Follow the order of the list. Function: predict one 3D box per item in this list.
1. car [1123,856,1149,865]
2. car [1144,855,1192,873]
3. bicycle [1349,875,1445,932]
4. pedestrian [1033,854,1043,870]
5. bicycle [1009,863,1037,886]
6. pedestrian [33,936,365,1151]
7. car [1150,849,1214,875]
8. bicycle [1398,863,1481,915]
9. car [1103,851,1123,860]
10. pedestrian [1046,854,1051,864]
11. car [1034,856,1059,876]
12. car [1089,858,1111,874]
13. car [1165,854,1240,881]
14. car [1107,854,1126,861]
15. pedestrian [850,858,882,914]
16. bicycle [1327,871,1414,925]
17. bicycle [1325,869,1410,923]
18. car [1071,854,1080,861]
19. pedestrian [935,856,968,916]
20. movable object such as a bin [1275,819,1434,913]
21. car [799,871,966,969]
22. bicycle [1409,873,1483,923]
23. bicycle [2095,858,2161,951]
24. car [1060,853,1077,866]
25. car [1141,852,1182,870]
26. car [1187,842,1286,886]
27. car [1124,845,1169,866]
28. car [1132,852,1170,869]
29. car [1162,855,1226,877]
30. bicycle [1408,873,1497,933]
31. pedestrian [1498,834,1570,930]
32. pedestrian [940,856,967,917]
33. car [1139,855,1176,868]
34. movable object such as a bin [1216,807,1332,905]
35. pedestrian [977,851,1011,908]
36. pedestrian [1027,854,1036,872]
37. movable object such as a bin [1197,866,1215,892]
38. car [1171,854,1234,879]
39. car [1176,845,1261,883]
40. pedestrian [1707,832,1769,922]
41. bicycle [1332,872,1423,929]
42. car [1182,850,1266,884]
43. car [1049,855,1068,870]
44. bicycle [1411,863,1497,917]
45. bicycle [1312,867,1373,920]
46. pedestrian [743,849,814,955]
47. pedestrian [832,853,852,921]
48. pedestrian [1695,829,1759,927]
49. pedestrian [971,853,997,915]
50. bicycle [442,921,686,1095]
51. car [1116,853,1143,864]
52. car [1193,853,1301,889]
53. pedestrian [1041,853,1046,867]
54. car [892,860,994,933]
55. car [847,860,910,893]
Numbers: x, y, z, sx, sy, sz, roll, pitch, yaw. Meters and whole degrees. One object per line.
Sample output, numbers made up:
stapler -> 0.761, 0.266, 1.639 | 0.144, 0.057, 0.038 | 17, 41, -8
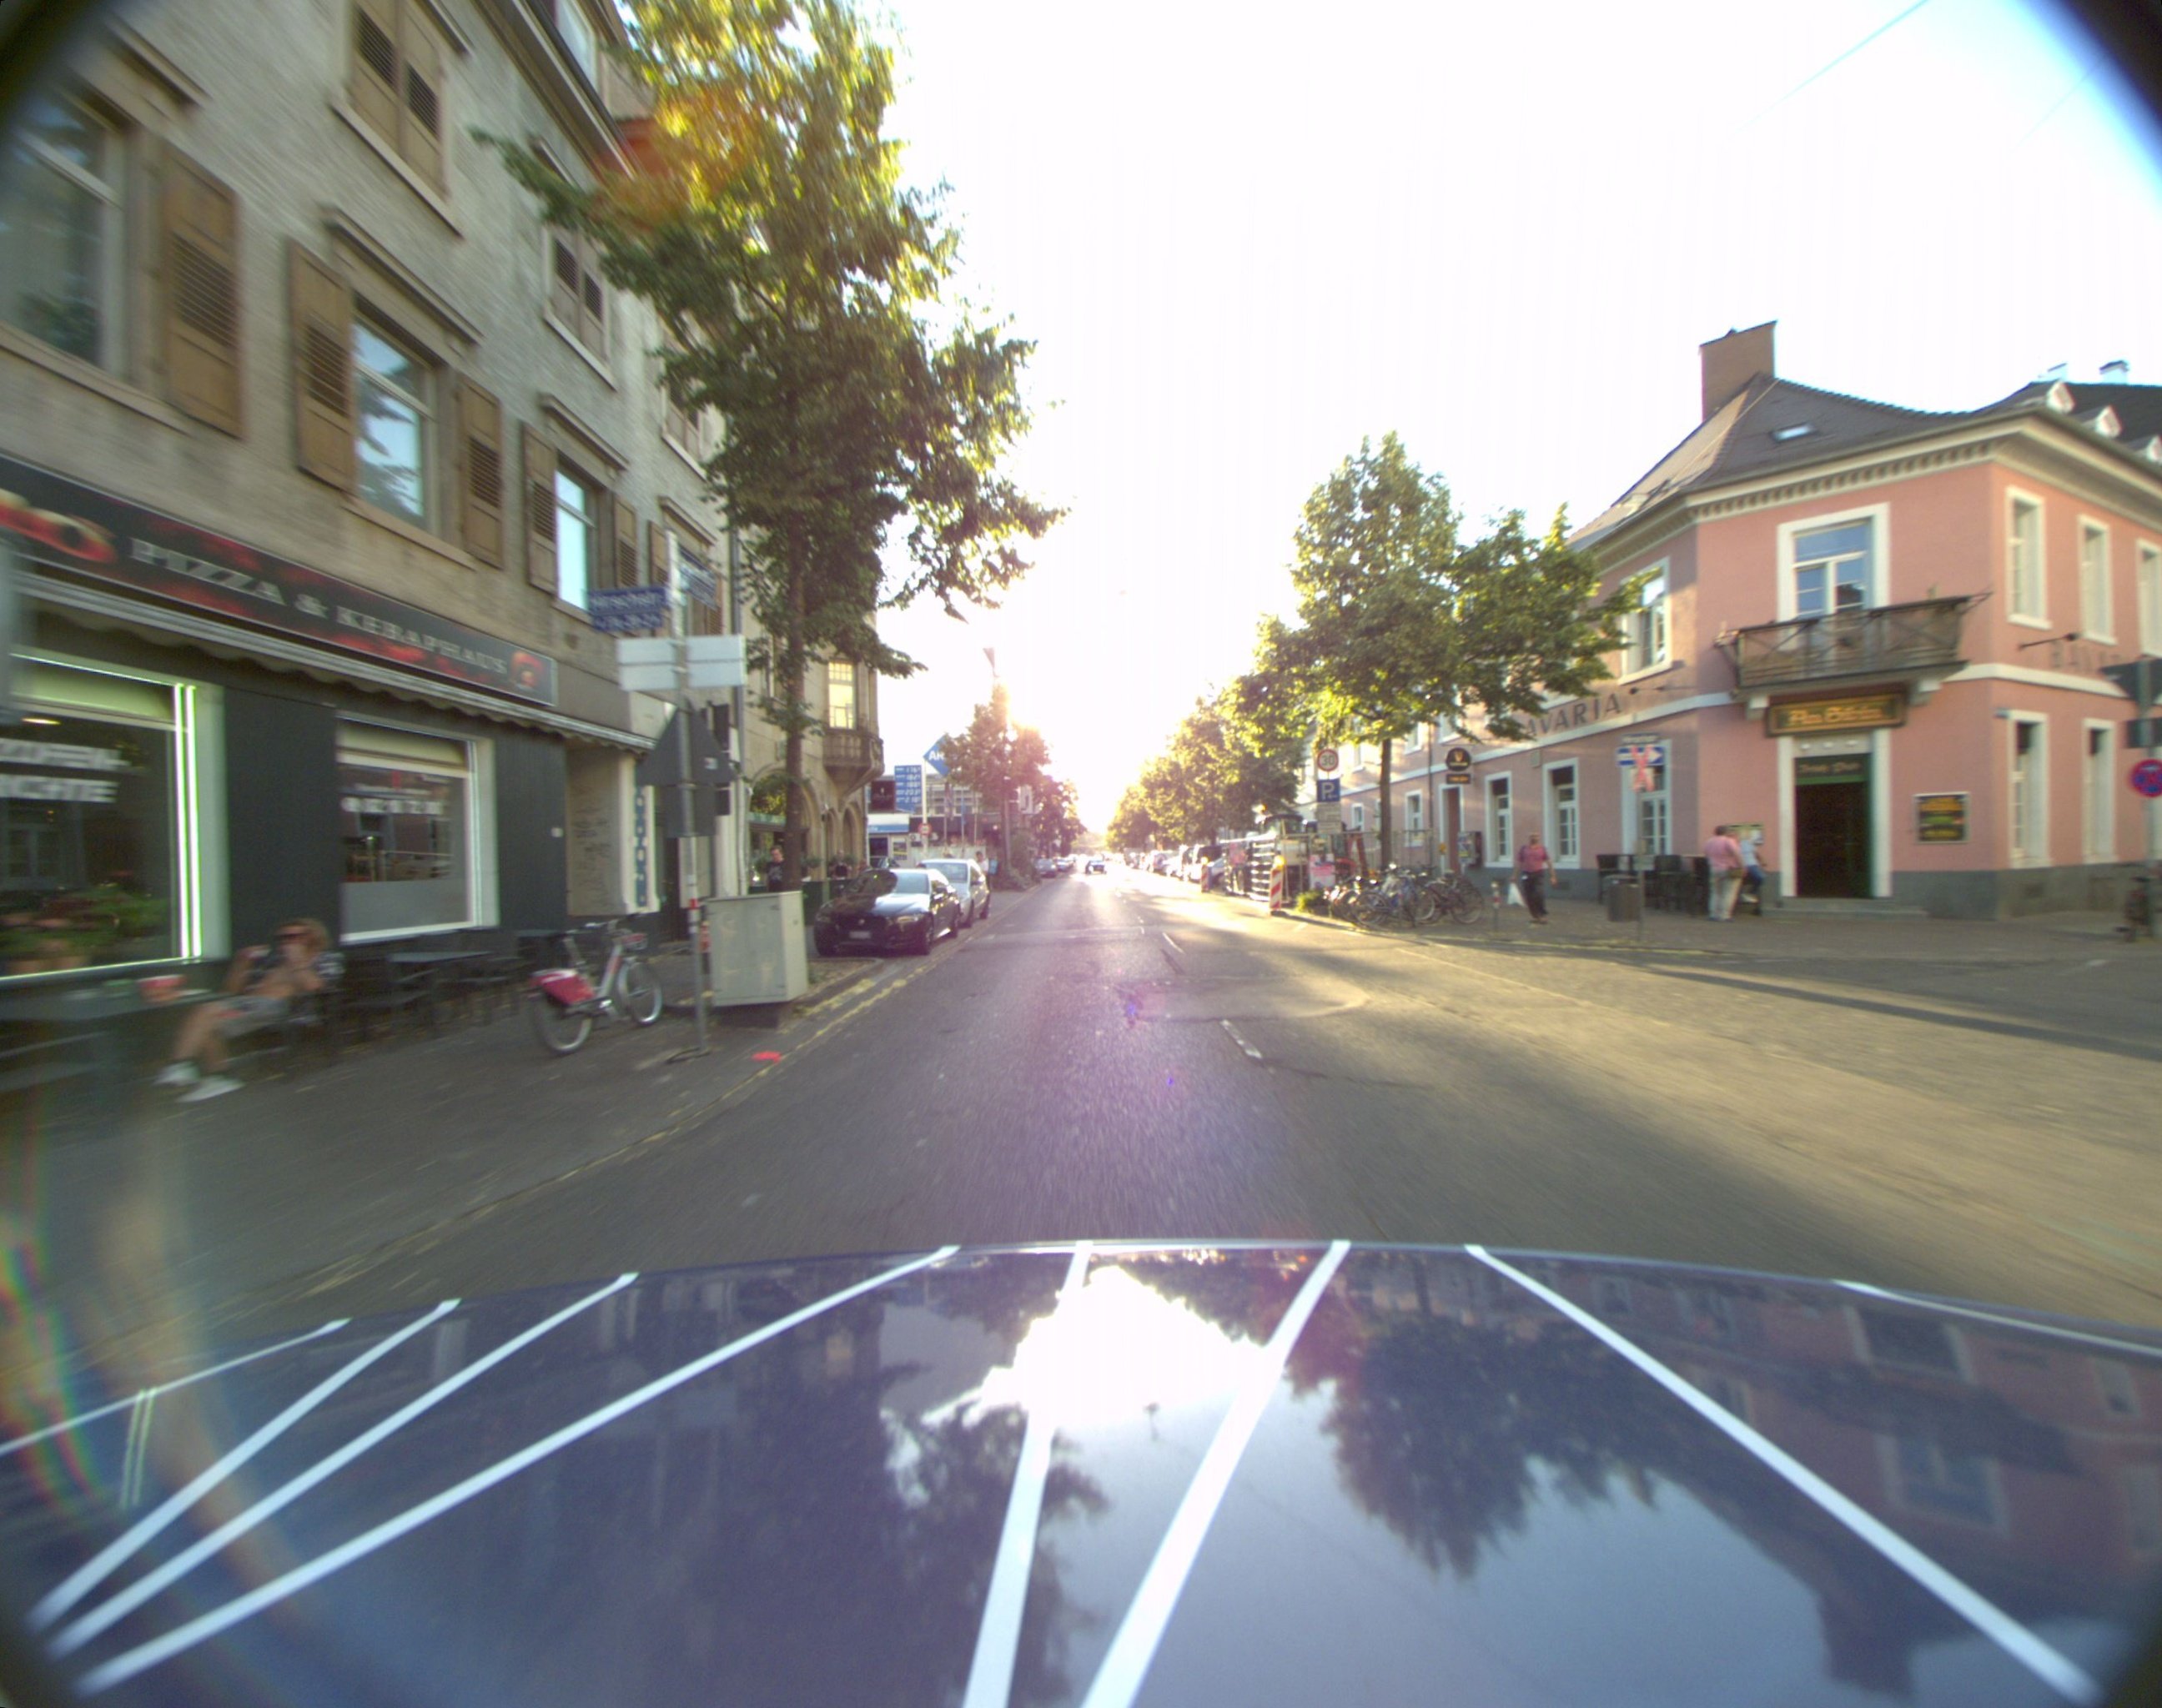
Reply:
car -> 9.612, 1.088, 133.310 | 4.393, 1.414, 1.822 | -3, 0, 0
car -> 7.848, 0.904, 68.817 | 4.047, 1.475, 1.963 | -1, 0, 0
bicycle -> 6.354, 0.989, 15.340 | 1.686, 1.015, 0.444 | -4, 2, 8
pedestrian -> -4.633, 0.866, 82.049 | 0.924, 1.749, 0.762 | 0, 0, 1
bicycle -> -2.971, 1.031, 39.064 | 0.482, 1.136, 1.684 | 2, 0, 31
pedestrian -> -6.010, 1.231, 5.308 | 0.683, 1.135, 1.360 | 0, 2, 1
car -> 8.077, 0.649, 61.008 | 4.882, 1.897, 1.974 | -1, 0, 1
bicycle -> 8.433, 0.823, 17.910 | 1.686, 1.142, 0.444 | -3, 2, 4
car -> 8.448, 0.407, 198.235 | 4.782, 2.344, 2.153 | -1, 0, -27
pedestrian -> -5.471, 0.895, 129.569 | 0.756, 1.748, 0.812 | -1, 1, 0
car -> -2.696, 0.942, 59.746 | 1.833, 1.479, 4.849 | 1, 0, -1
car -> 1.736, 1.123, 71.066 | 1.685, 1.453, 4.070 | -1, 0, -4
car -> 7.599, 0.860, 47.757 | 4.338, 1.492, 1.841 | -2, 0, -4
car -> 8.451, 0.876, 181.282 | 4.579, 1.548, 1.809 | -1, 0, -37
pedestrian -> -6.069, 0.897, 21.472 | 0.660, 1.553, 0.701 | 1, 0, 1
bicycle -> 6.327, 0.961, 16.652 | 1.686, 1.072, 0.444 | -4, 2, 8
bicycle -> 6.492, 0.943, 17.241 | 1.687, 1.072, 0.444 | -4, 2, 0
car -> -1.438, 0.868, 197.656 | 1.867, 1.900, 4.256 | 2, 0, 3
pedestrian -> -3.797, 0.926, 22.277 | 0.654, 1.690, 0.666 | 1, 1, -43
movable object such as a bin -> 8.436, 0.289, 23.062 | 2.307, 2.480, 5.766 | -1, 0, 44
car -> -3.362, 1.058, 13.807 | 1.789, 1.367, 4.523 | 1, 0, 0
bicycle -> 7.771, 0.934, 16.185 | 1.327, 0.974, 0.444 | -3, 2, 4
bicycle -> 15.312, 0.688, 11.013 | 1.945, 1.186, 0.584 | -2, 2, -33
car -> -1.510, 0.592, 90.279 | 1.846, 1.472, 5.190 | 1, 0, 1
car -> 8.523, 0.689, 80.855 | 4.148, 1.796, 1.807 | -1, 0, 2
car -> 7.800, 0.502, 38.307 | 4.495, 1.964, 1.965 | -2, 0, -1
car -> 8.727, 0.222, 101.797 | 5.672, 2.606, 2.171 | -3, 0, 1
car -> 8.366, 0.764, 91.181 | 4.510, 1.942, 1.919 | -2, 0, 3
car -> 8.360, 0.888, 56.277 | 4.488, 1.476, 1.734 | -2, 0, 3
bicycle -> 7.208, 0.946, 14.767 | 1.491, 1.053, 0.470 | -3, 2, -5
pedestrian -> 8.654, 0.520, 14.523 | 1.037, 1.755, 0.820 | -1, 0, 40
pedestrian -> -3.641, 0.927, 21.666 | 0.680, 1.696, 0.824 | 1, 0, -14
car -> 8.825, 0.895, 88.336 | 4.162, 1.431, 1.594 | -2, 0, 2
movable object such as a bin -> 6.405, 0.072, 26.029 | 2.631, 2.951, 5.303 | -2, 0, 0
pedestrian -> -2.821, 0.816, 24.568 | 1.017, 1.815, 0.779 | 1, 0, -9
pedestrian -> -4.588, 0.824, 70.306 | 0.790, 1.694, 0.700 | 0, 0, 1
movable object such as a bin -> 5.448, 1.085, 33.183 | 0.691, 1.098, 0.883 | -1, 0, 3
car -> 8.109, 0.815, 50.792 | 3.932, 1.492, 1.905 | -2, 0, 3
car -> 7.816, 0.571, 43.641 | 4.494, 1.964, 2.068 | -2, 0, 1
pedestrian -> 12.426, 0.415, 14.394 | 0.506, 1.641, 0.720 | -2, 3, -9
bicycle -> 6.248, 0.977, 16.063 | 1.686, 1.072, 0.444 | -4, 2, 8
car -> 7.668, 0.706, 40.940 | 4.140, 1.627, 1.860 | -2, 0, 1
car -> -2.438, 0.895, 84.647 | 1.884, 1.564, 4.692 | 1, 0, 1
bicycle -> 8.452, 0.807, 17.248 | 1.686, 1.142, 0.444 | -3, 2, 4
bicycle -> 6.254, 0.929, 18.135 | 1.551, 1.110, 0.443 | -5, 2, -32
pedestrian -> -5.508, 0.847, 13.894 | 0.825, 1.843, 1.097 | 1, 0, -1
pedestrian -> -6.743, 0.921, 21.445 | 0.462, 1.864, 0.501 | -1, 0, -14
pedestrian -> 11.727, 0.417, 13.815 | 0.506, 1.728, 0.720 | -2, 3, -9
pedestrian -> -2.794, 0.849, 21.817 | 0.679, 1.744, 0.824 | -1, 1, -10
bicycle -> -4.322, 1.223, 6.575 | 0.780, 1.105, 1.899 | 0, 1, 1
car -> 8.985, 0.887, 141.142 | 4.718, 1.800, 2.053 | -3, 0, 2
car -> 7.605, 0.785, 35.174 | 4.604, 1.461, 1.893 | -2, 0, 3
pedestrian -> -5.015, 0.808, 102.297 | 0.627, 1.857, 0.976 | 1, 0, 0
car -> -3.282, 0.952, 18.781 | 1.691, 1.566, 4.013 | 1, 0, 1
car -> -9.971, 1.061, 37.750 | 1.739, 1.422, 4.907 | 0, 1, 1
